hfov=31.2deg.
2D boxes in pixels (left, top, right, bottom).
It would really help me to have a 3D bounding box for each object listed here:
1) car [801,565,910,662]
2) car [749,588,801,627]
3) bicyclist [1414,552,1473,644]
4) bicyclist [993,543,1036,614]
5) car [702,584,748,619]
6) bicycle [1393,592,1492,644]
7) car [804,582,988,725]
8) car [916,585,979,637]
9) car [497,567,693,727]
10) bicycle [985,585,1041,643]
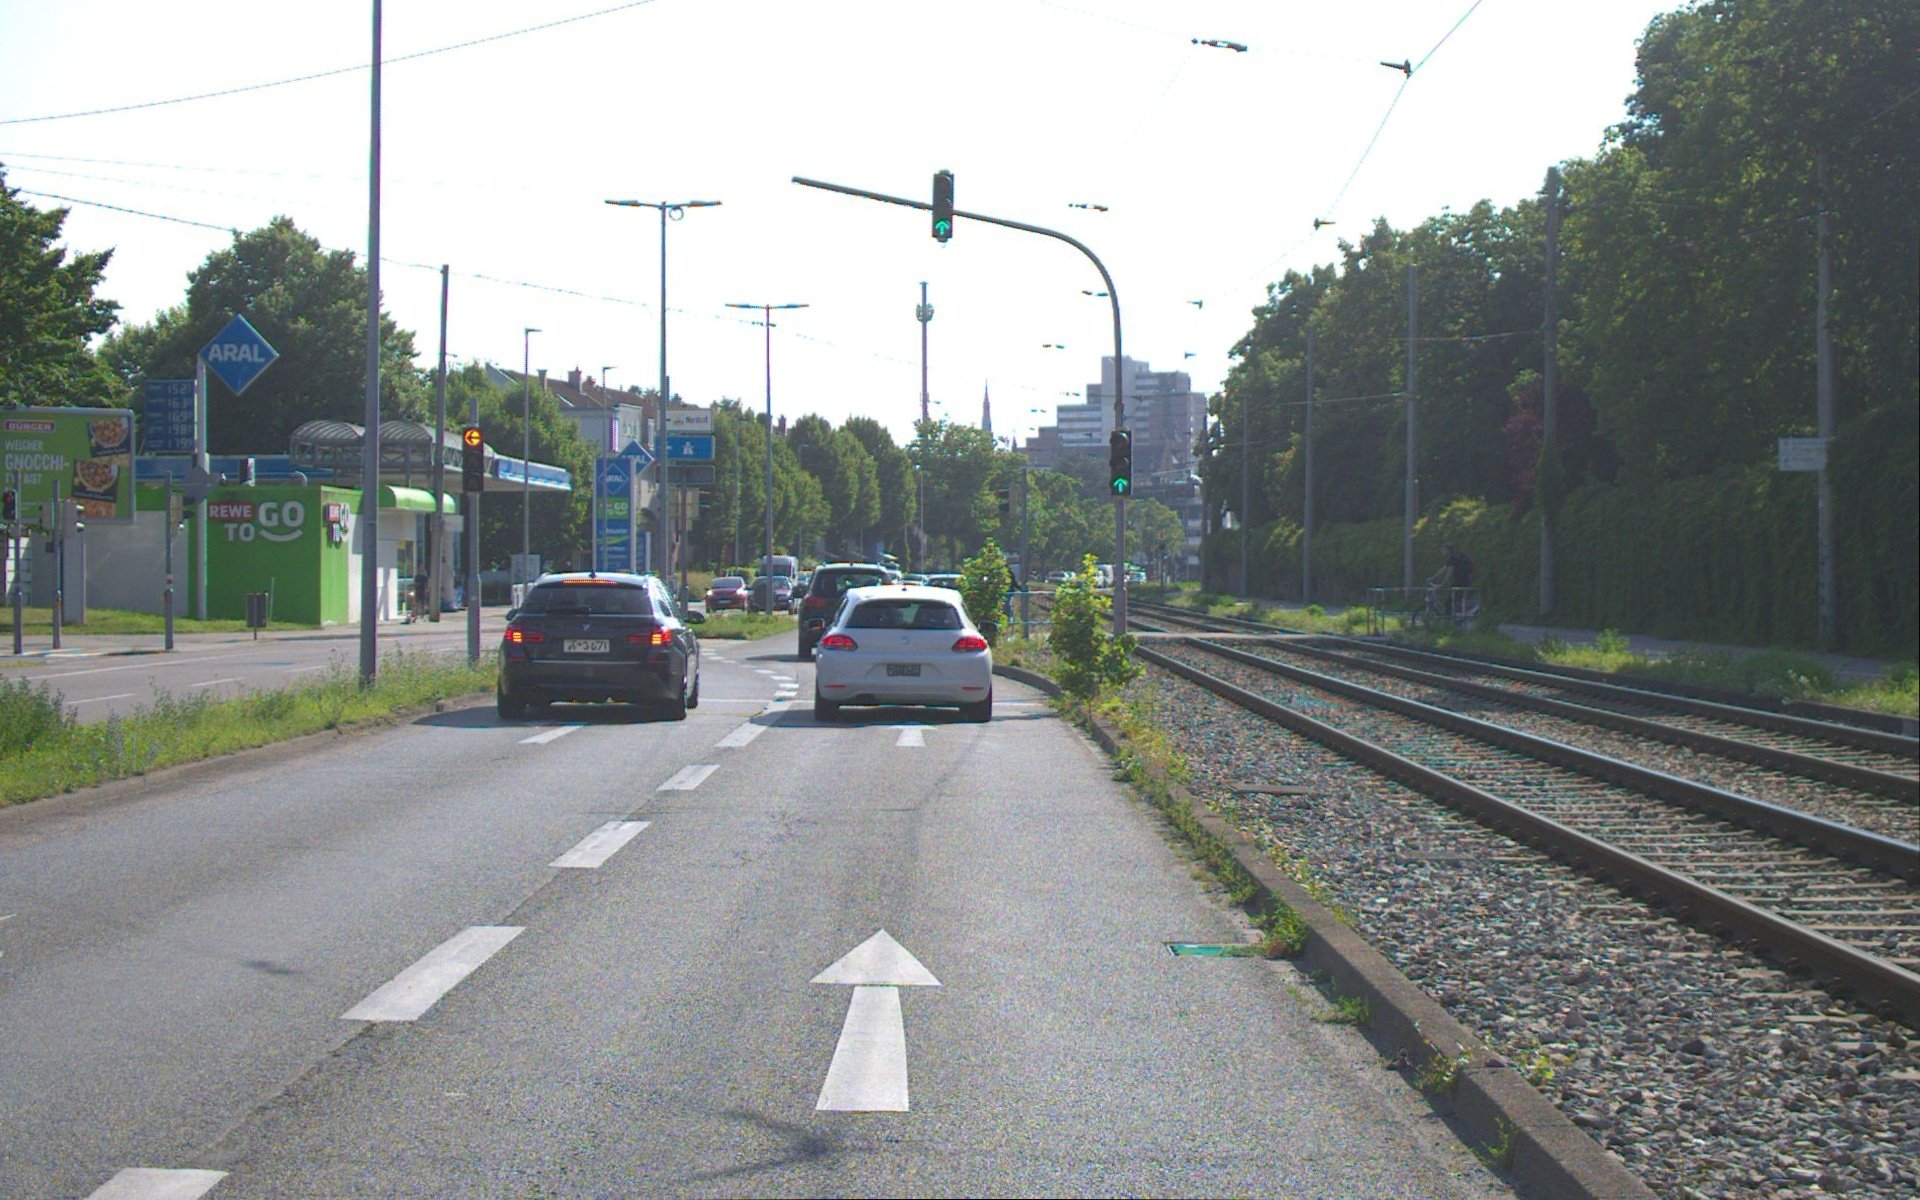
[{"bbox_3d":[-1.844,0.209,59.746,1.724,1.587,3.601,2,0,-4],"label":"car"},{"bbox_3d":[-6.685,0.259,124.818,1.653,1.390,4.134,0,0,0],"label":"car"},{"bbox_3d":[10.469,-0.049,74.402,1.034,1.987,0.946,0,0,25],"label":"bicyclist"},{"bbox_3d":[1.106,-0.447,69.687,0.644,1.411,1.012,1,1,16],"label":"bicyclist"},{"bbox_3d":[-9.544,0.051,139.602,1.574,1.412,3.333,0,0,1],"label":"car"},{"bbox_3d":[10.449,0.383,74.416,1.923,1.111,0.946,0,0,25],"label":"bicycle"},{"bbox_3d":[-0.621,0.522,35.906,1.781,1.352,3.601,2,0,0],"label":"car"},{"bbox_3d":[-0.367,0.318,105.044,1.749,1.480,3.601,2,0,2],"label":"car"},{"bbox_3d":[-3.686,0.428,35.350,1.760,1.480,4.645,2,0,-4],"label":"car"},{"bbox_3d":[1.079,0.282,69.593,0.644,1.150,1.935,0,1,16],"label":"bicycle"}]
